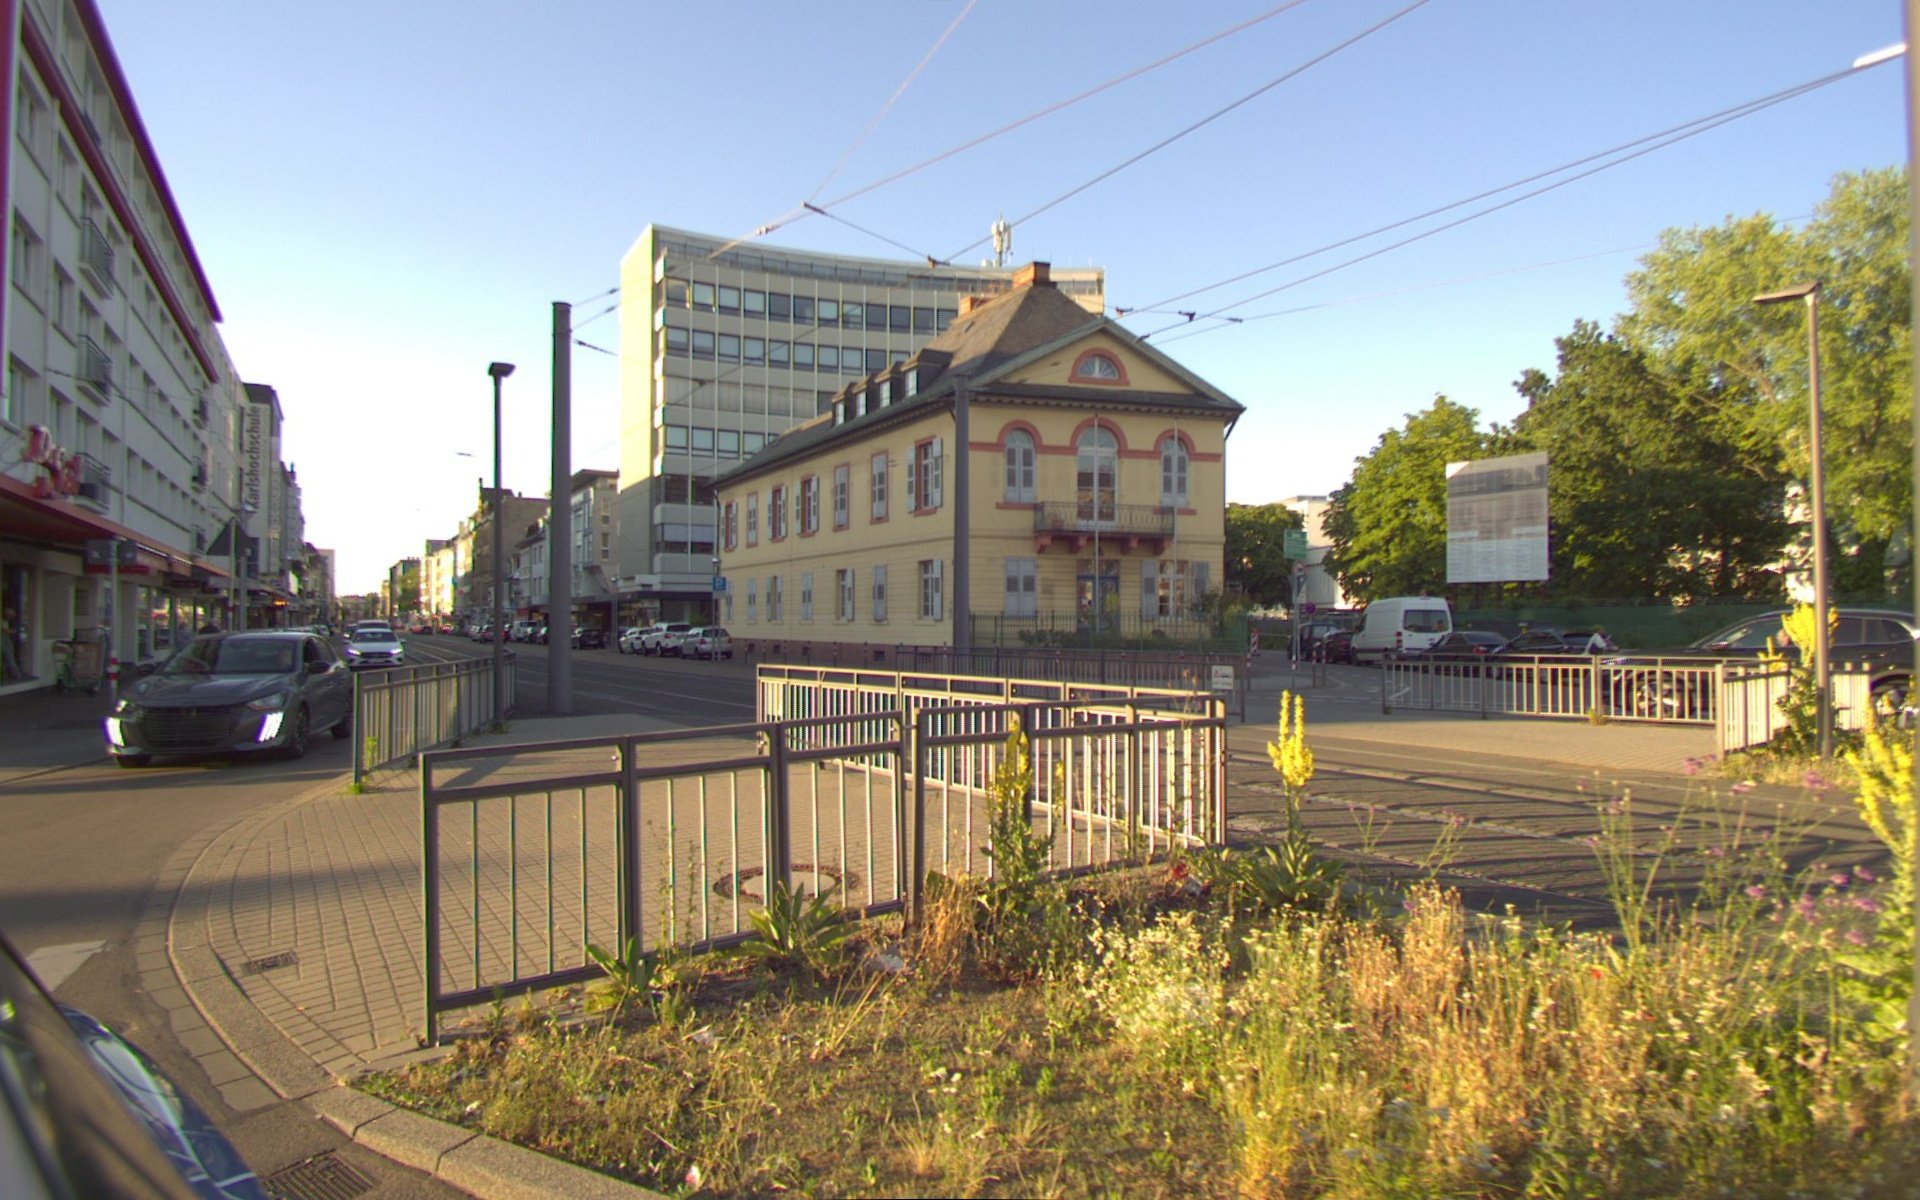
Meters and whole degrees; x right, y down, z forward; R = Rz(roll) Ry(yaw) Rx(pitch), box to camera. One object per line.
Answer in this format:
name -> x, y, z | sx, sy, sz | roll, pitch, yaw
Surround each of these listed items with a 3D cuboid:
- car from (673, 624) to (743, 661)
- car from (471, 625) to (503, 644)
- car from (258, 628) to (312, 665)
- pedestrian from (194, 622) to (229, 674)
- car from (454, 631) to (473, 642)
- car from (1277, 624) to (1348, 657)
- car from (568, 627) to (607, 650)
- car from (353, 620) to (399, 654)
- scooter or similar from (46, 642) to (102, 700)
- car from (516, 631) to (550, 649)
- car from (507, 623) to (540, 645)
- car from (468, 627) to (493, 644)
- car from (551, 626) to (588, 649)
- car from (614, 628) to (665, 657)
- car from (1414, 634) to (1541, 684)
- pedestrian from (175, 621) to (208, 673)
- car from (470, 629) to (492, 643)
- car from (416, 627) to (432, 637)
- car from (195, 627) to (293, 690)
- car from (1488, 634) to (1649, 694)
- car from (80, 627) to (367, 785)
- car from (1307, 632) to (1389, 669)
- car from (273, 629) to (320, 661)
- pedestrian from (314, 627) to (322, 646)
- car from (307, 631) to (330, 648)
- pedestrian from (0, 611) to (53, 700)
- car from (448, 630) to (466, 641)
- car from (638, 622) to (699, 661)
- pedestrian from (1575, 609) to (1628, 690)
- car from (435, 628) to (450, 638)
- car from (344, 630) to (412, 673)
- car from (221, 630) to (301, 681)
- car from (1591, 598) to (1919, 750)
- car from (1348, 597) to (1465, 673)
car -> -11.650, 1.930, 46.600 | 1.788, 1.629, 4.226 | 1, -2, -34
car -> -39.492, 2.872, 84.401 | 1.712, 1.523, 4.044 | 2, -2, -35
car -> -29.551, 2.010, 44.394 | 1.711, 1.523, 4.316 | 3, -3, -31
pedestrian -> -25.615, 1.648, 34.633 | 0.815, 1.731, 0.845 | 3, -3, -31
car -> -68.876, 5.047, 140.296 | 1.966, 1.564, 4.011 | 1, -2, -31
car -> 16.768, 1.923, 48.413 | 1.972, 1.497, 4.092 | 0, -2, 1
car -> -25.135, 2.587, 68.201 | 1.662, 1.523, 4.227 | 1, -2, -31
car -> -32.563, 2.032, 56.379 | 1.966, 1.830, 4.011 | 1, -2, -33
scooter or similar -> -19.102, 1.524, 21.817 | 1.240, 1.211, 0.354 | -1, -2, 21
car -> -36.508, 3.405, 86.433 | 1.966, 1.477, 4.571 | 0, -2, -32
car -> -40.169, 3.130, 93.019 | 1.928, 1.992, 5.177 | 2, -2, -32
car -> -45.111, 3.301, 95.127 | 1.781, 1.523, 4.047 | 1, -2, -30
car -> -28.057, 2.694, 72.716 | 1.662, 1.523, 4.227 | 7, -5, -31
car -> -17.830, 2.351, 56.177 | 1.787, 1.523, 4.445 | 2, -2, -30
car -> 16.503, 1.843, 32.529 | 1.972, 1.497, 4.092 | 0, -2, 1
pedestrian -> -26.561, 1.611, 34.991 | 0.718, 1.754, 0.865 | 3, -3, -31
car -> -58.044, 4.362, 122.661 | 1.966, 1.556, 4.892 | 0, -2, -31
car -> -81.727, 4.880, 154.244 | 1.966, 1.564, 4.012 | 1, -2, -31
car -> -18.911, 1.523, 26.908 | 1.711, 1.523, 4.699 | 3, -3, -31
car -> 16.539, 1.693, 27.764 | 1.972, 1.497, 3.999 | 0, -2, 1
car -> -8.676, 1.117, 12.377 | 1.703, 1.533, 4.347 | 0, -1, -20
car -> 16.781, 2.158, 43.948 | 1.972, 1.497, 4.092 | 0, -2, 1
car -> -32.692, 2.203, 49.942 | 1.765, 1.523, 4.725 | 3, -3, -32
pedestrian -> -57.077, 3.239, 89.999 | 0.596, 1.740, 0.648 | 2, -3, -32
car -> -61.465, 3.811, 97.010 | 1.654, 1.554, 3.897 | 3, -3, -31
pedestrian -> -18.954, 1.124, 20.537 | 0.522, 1.774, 0.601 | -1, -2, 15
car -> -74.899, 5.276, 150.754 | 1.966, 1.564, 4.218 | 1, -2, -31
car -> -14.719, 2.043, 50.952 | 1.787, 1.799, 4.510 | -2, 0, -32
pedestrian -> 15.388, 1.183, 24.288 | 0.718, 1.907, 0.767 | 0, -2, -8
car -> -86.332, 5.460, 168.885 | 1.966, 1.564, 4.011 | 1, -2, -31
car -> -21.058, 1.814, 36.540 | 1.966, 1.469, 4.011 | 1, -2, -32
car -> -22.148, 1.734, 32.191 | 1.760, 1.523, 4.063 | 3, -3, -31
car -> 11.853, 0.978, 14.230 | 4.809, 1.916, 1.973 | -2, -3, 41
car -> 16.632, 1.305, 38.088 | 2.070, 2.650, 5.422 | 0, -2, 2
